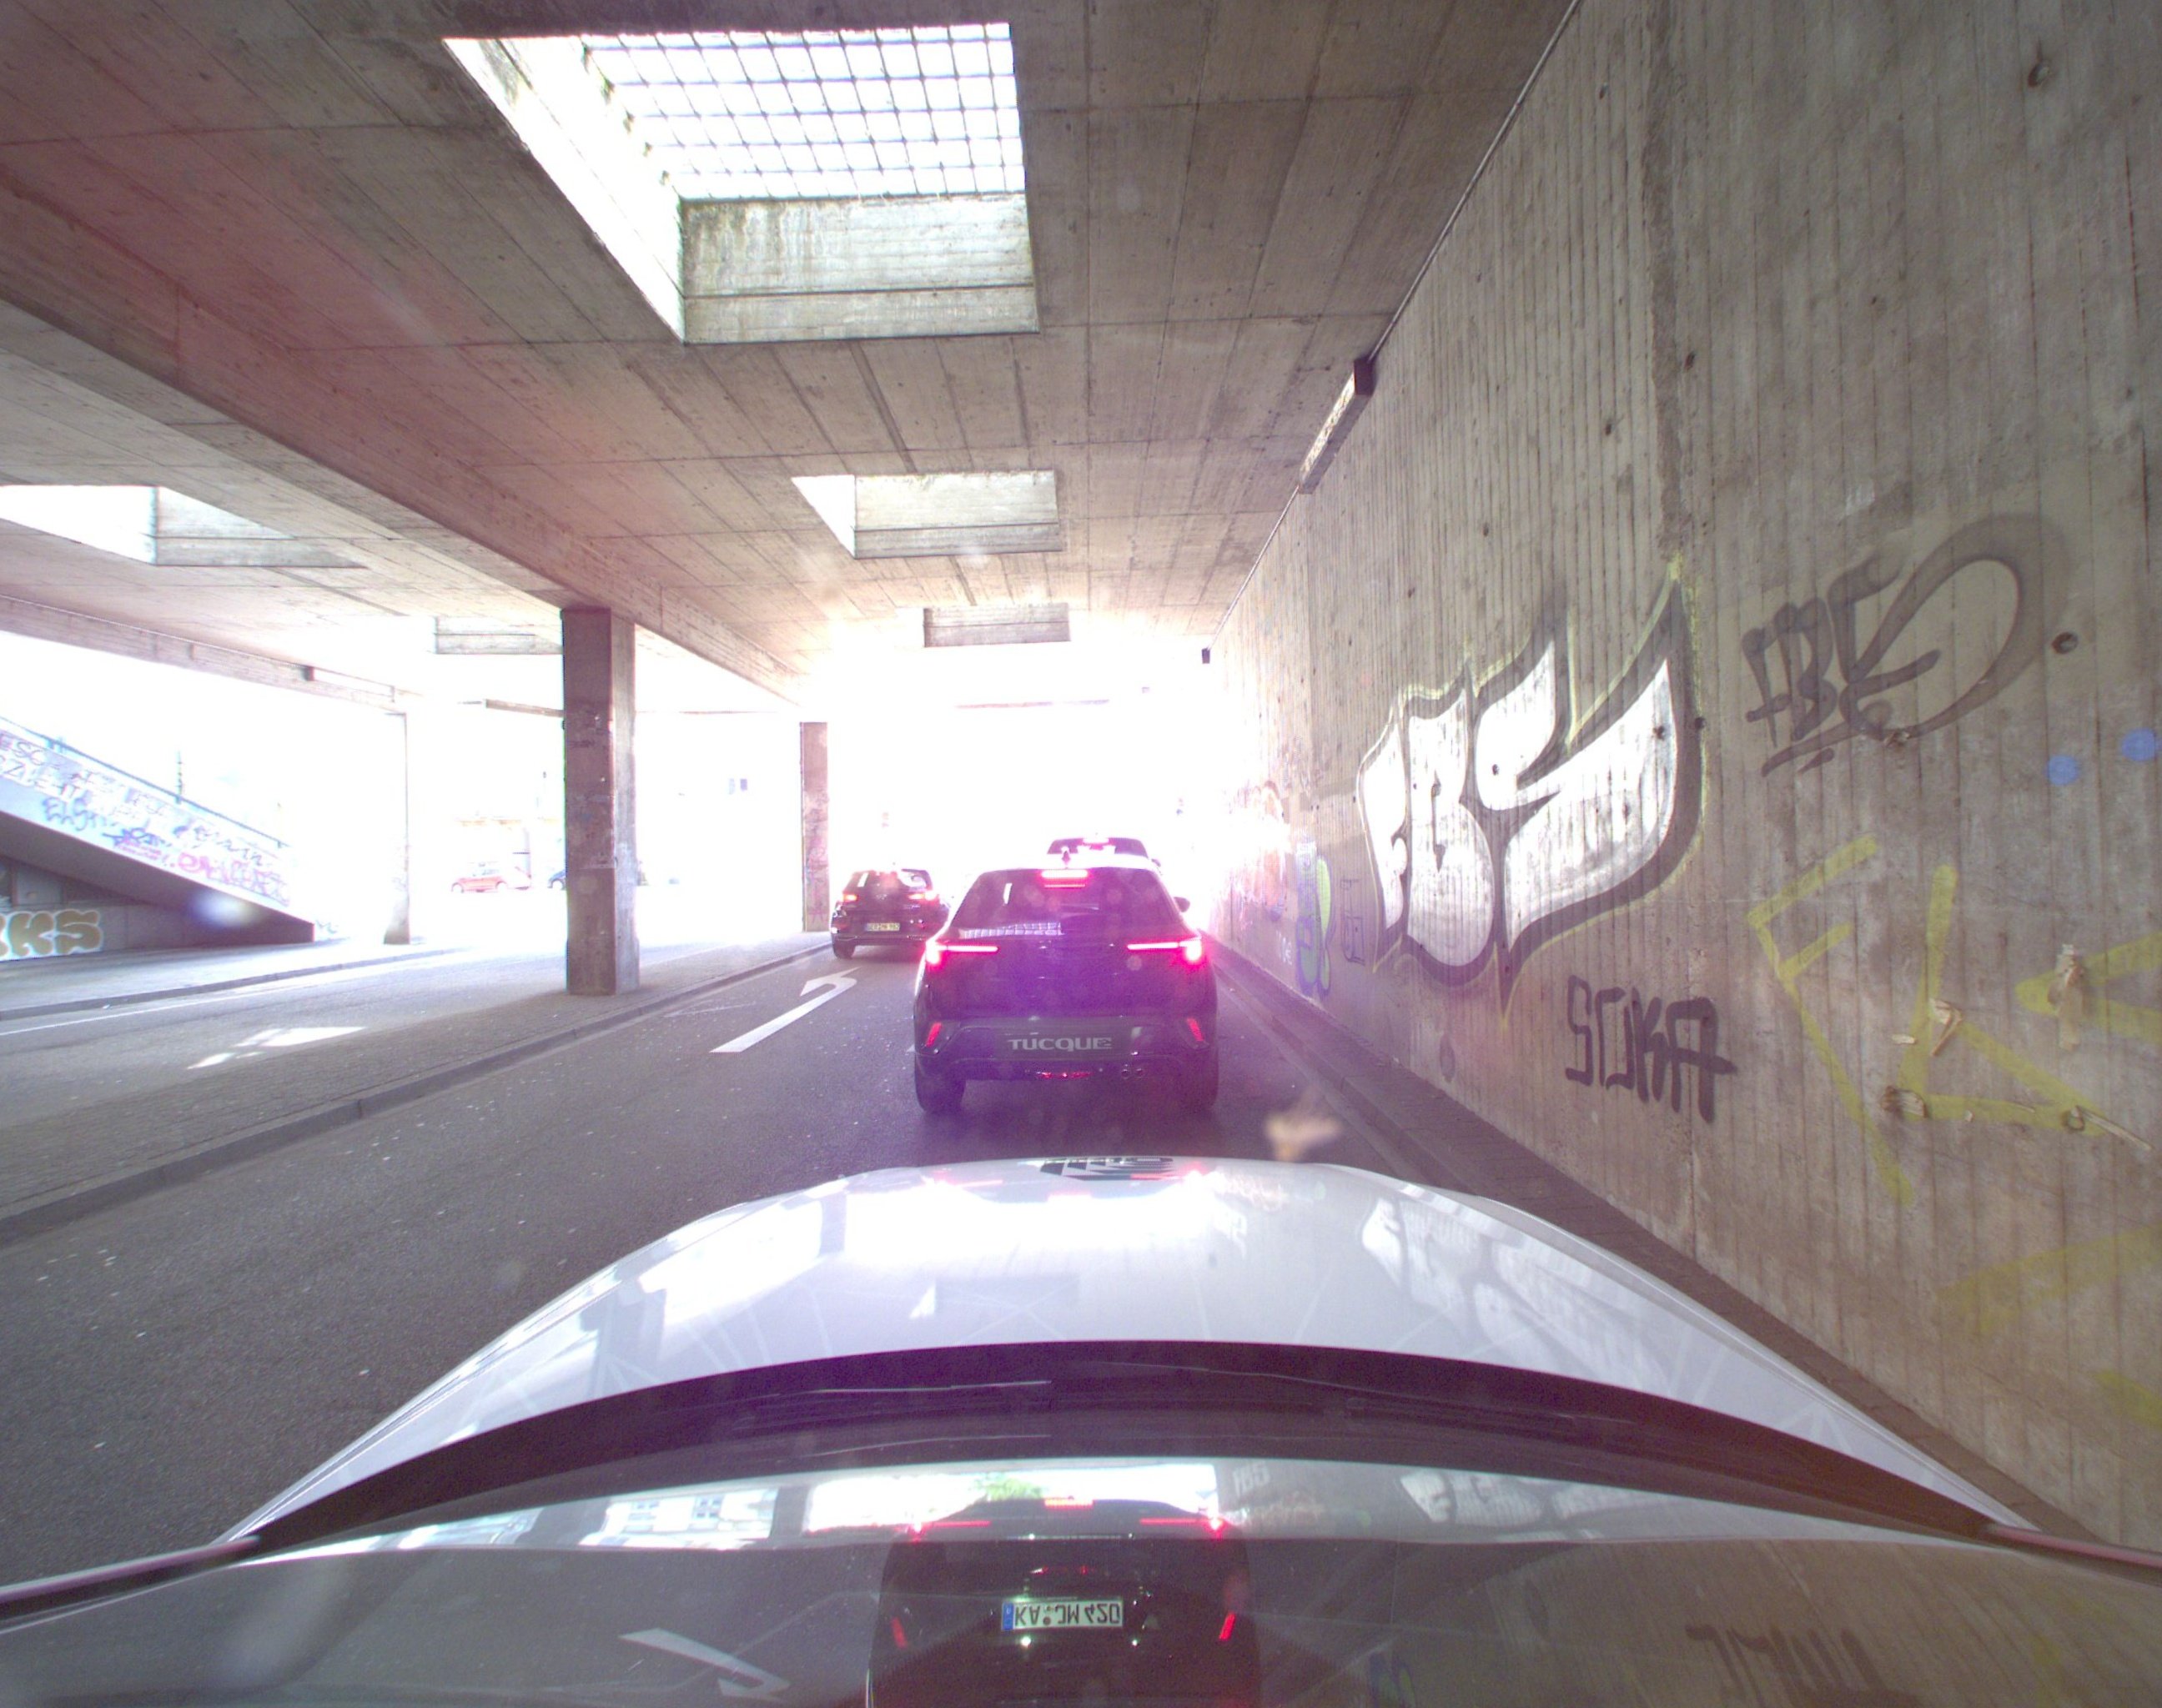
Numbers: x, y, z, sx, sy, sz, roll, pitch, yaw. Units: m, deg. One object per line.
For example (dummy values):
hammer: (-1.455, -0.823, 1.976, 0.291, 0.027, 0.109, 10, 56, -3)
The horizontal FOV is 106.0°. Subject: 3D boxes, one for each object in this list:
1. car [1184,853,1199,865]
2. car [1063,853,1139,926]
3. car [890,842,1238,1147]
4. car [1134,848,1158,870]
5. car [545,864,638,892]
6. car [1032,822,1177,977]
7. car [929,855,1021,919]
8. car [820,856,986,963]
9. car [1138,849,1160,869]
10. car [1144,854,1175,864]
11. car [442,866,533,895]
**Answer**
car: (15.185, 0.714, 111.733, 1.742, 1.667, 3.956, 0, -1, 11)
car: (0.494, 0.761, 19.369, 1.603, 1.513, 4.055, -1, 0, 2)
car: (-0.026, 0.726, 6.211, 1.755, 1.531, 4.091, -1, 0, 2)
car: (4.969, 0.381, 62.238, 1.745, 1.667, 3.950, 0, -1, 6)
car: (-27.171, 1.319, 45.277, 4.096, 1.475, 1.737, -1, -1, 0)
car: (0.359, 0.566, 12.150, 1.755, 1.883, 4.148, -1, 0, 2)
car: (-2.658, 0.795, 21.198, 1.755, 1.480, 3.846, -1, 0, 2)
car: (-2.747, 0.799, 13.470, 1.755, 1.480, 3.846, -1, 0, 2)
car: (5.757, 0.425, 68.342, 1.745, 1.667, 3.950, 0, -1, 6)
car: (12.844, 0.862, 133.674, 4.814, 1.667, 1.812, 0, -1, -19)
car: (-32.927, 1.441, 45.255, 3.748, 1.475, 1.749, -1, -1, 0)
